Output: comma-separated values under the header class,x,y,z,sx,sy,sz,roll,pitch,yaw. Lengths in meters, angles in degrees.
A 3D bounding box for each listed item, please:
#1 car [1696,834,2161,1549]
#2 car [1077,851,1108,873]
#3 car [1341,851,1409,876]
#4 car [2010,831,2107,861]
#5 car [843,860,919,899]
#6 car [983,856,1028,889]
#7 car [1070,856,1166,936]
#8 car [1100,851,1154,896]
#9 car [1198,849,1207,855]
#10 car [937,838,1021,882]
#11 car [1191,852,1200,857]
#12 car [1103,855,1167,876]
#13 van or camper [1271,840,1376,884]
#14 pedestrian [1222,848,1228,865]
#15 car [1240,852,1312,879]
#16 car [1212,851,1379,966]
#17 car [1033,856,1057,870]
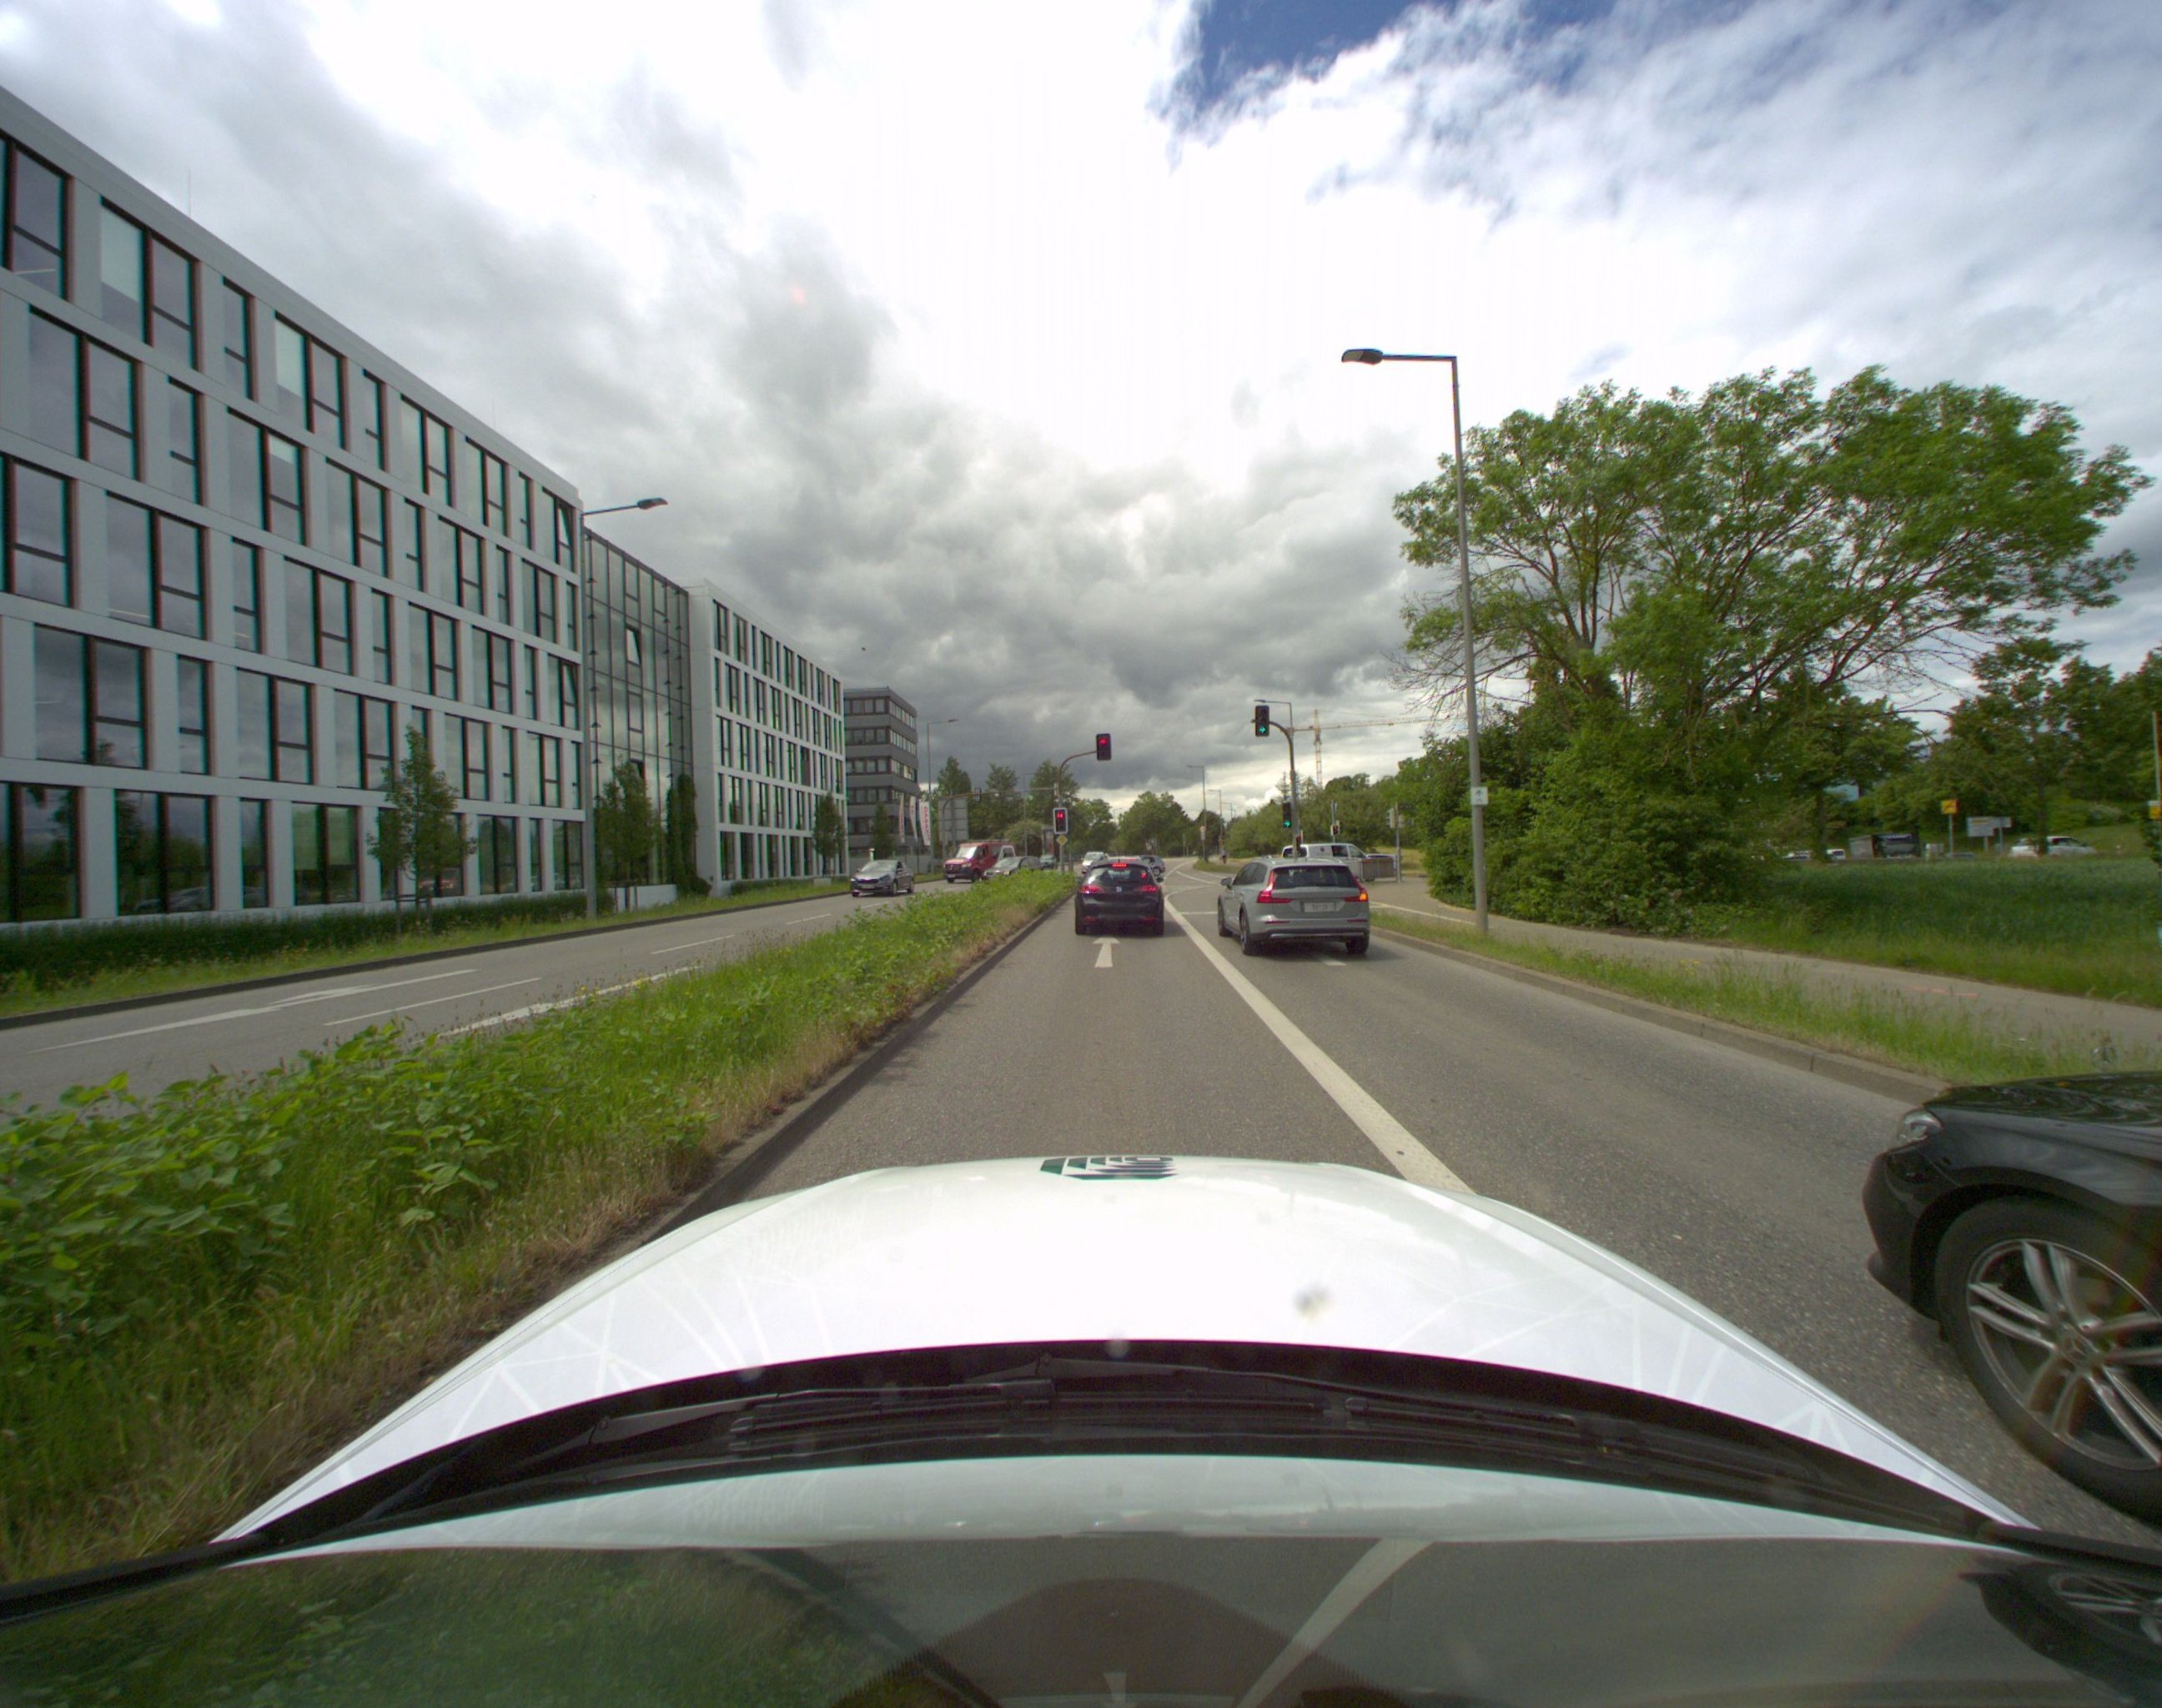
class,x,y,z,sx,sy,sz,roll,pitch,yaw
car,3.149,0.683,0.300,1.867,1.440,5.198,-2,0,0
car,0.947,0.633,63.196,1.983,1.596,4.007,-1,0,6
car,19.884,0.623,55.209,3.963,1.530,2.005,-1,0,9
car,48.264,-0.380,40.236,3.383,1.345,1.682,-2,0,-13
car,-8.028,0.979,33.022,1.925,1.398,4.002,-1,0,2
car,-3.668,0.863,40.331,1.672,1.482,4.002,-1,0,2
car,0.771,0.781,16.849,1.766,1.452,3.585,-1,0,3
car,1.624,0.686,30.033,1.767,1.491,3.582,-2,0,0
car,29.674,-0.513,198.638,1.981,1.352,4.012,-1,0,11
car,-5.855,0.293,47.566,1.974,2.412,5.273,-2,0,30
car,29.991,0.070,213.171,1.981,1.352,4.012,-1,0,11
car,3.680,0.769,55.959,3.989,1.354,1.992,-2,0,-12
van or camper,11.551,0.354,38.697,4.961,1.860,1.980,-2,0,-32
pedestrian,15.102,0.278,85.189,0.556,1.726,0.588,-1,0,3
car,11.714,0.687,49.160,3.967,1.517,1.945,-1,0,6
car,3.330,0.757,13.532,1.854,1.518,4.451,-2,0,4
car,-3.624,0.866,82.325,1.985,1.352,4.003,-1,0,3
